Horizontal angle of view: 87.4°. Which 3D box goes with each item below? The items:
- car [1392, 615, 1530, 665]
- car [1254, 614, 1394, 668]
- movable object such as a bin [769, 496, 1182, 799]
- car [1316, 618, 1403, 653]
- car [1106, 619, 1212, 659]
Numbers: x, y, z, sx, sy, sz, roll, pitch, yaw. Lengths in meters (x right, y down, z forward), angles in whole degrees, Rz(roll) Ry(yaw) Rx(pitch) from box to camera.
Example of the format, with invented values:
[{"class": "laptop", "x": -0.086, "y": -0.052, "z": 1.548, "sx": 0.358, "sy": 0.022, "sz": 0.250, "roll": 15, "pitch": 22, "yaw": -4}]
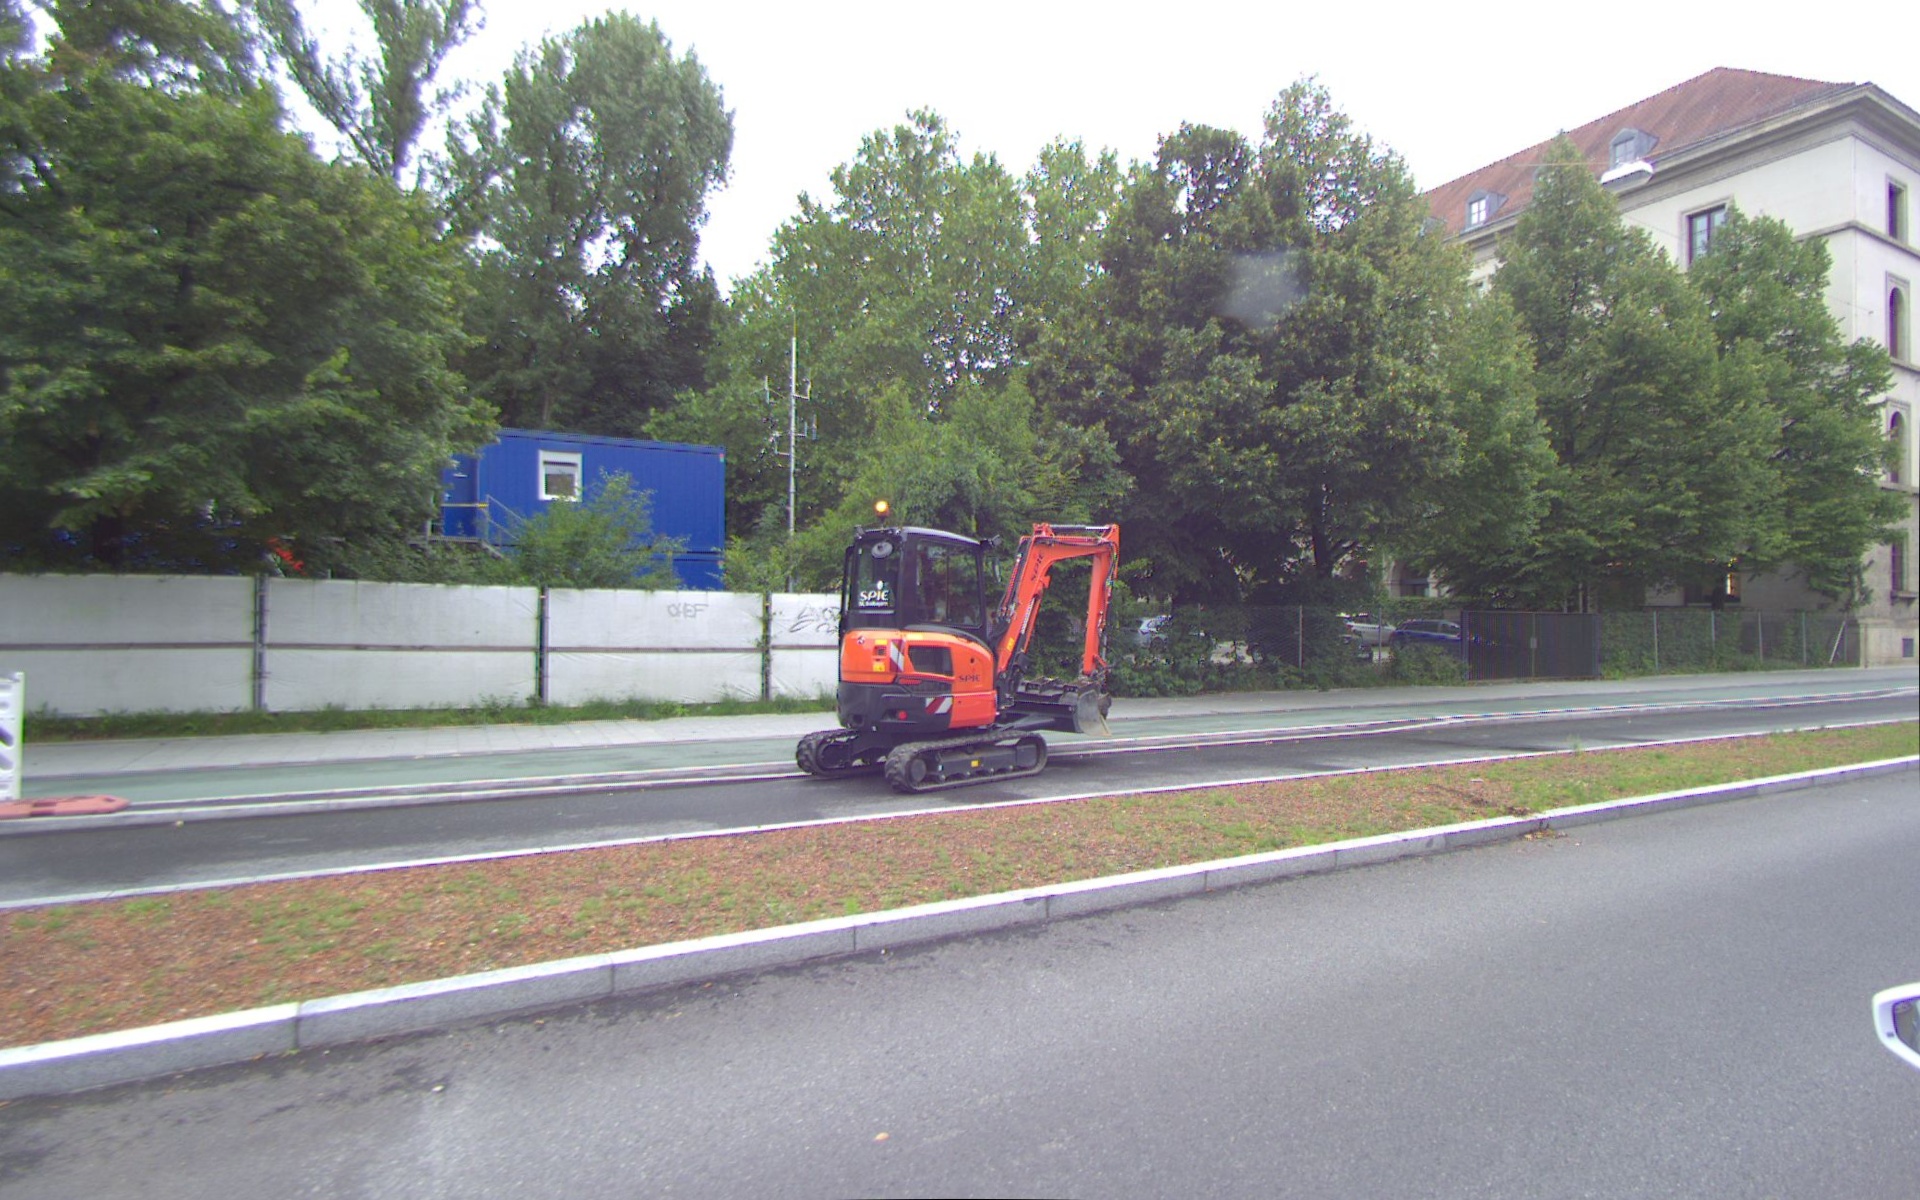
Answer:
[{"class": "car", "x": 17.129, "y": 1.312, "z": 34.524, "sx": 1.814, "sy": 1.566, "sz": 3.908, "roll": 0, "pitch": 0, "yaw": -30}, {"class": "car", "x": 11.347, "y": 1.229, "z": 31.561, "sx": 1.814, "sy": 1.566, "sz": 3.908, "roll": 0, "pitch": 0, "yaw": -30}, {"class": "movable object such as a bin", "x": 0.363, "y": 0.473, "z": 11.230, "sx": 4.636, "sy": 2.676, "sz": 1.974, "roll": 1, "pitch": -2, "yaw": -45}, {"class": "car", "x": 18.703, "y": 1.635, "z": 47.022, "sx": 3.895, "sy": 1.566, "sz": 1.821, "roll": 0, "pitch": 0, "yaw": -31}, {"class": "car", "x": 8.190, "y": 1.566, "z": 41.287, "sx": 4.129, "sy": 1.566, "sz": 1.821, "roll": 0, "pitch": 0, "yaw": -31}]
